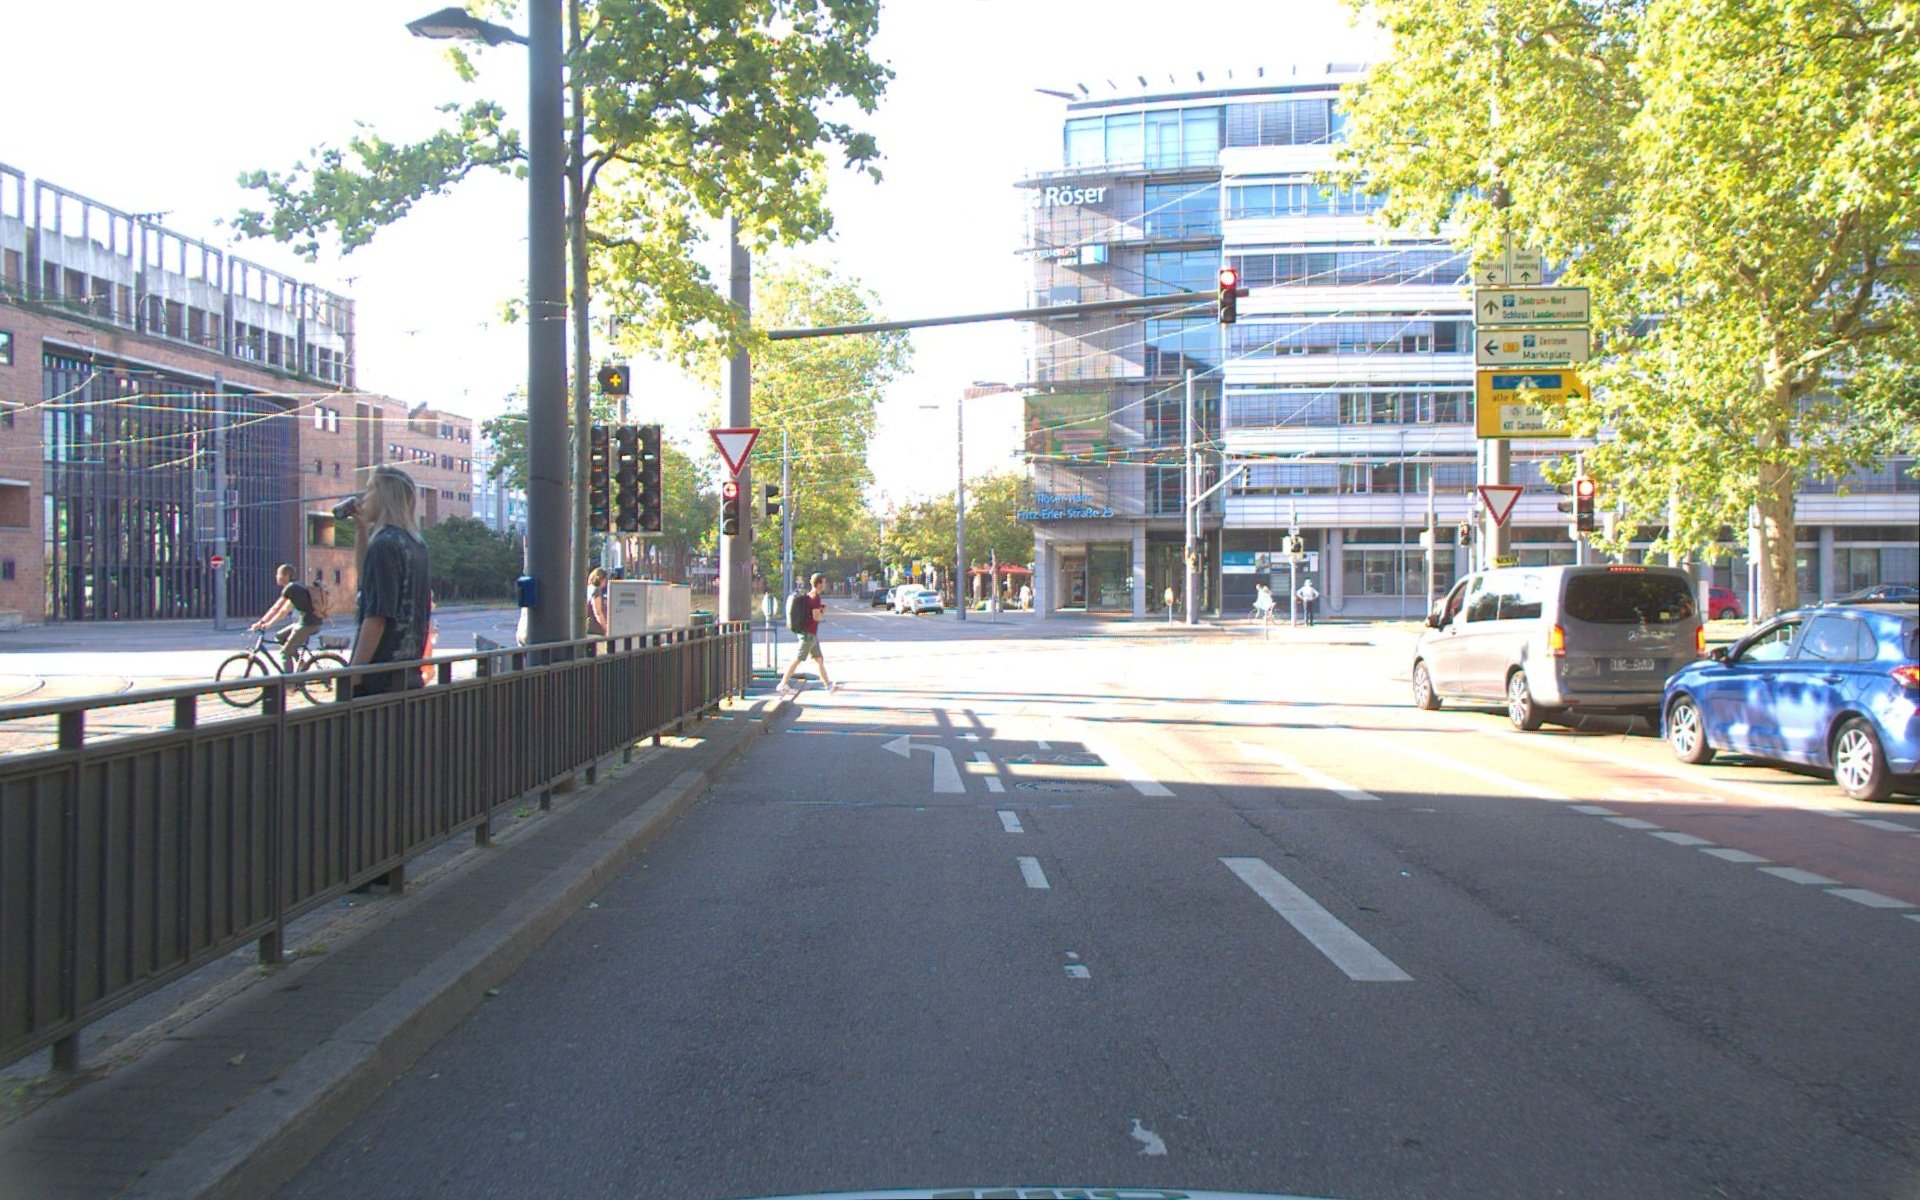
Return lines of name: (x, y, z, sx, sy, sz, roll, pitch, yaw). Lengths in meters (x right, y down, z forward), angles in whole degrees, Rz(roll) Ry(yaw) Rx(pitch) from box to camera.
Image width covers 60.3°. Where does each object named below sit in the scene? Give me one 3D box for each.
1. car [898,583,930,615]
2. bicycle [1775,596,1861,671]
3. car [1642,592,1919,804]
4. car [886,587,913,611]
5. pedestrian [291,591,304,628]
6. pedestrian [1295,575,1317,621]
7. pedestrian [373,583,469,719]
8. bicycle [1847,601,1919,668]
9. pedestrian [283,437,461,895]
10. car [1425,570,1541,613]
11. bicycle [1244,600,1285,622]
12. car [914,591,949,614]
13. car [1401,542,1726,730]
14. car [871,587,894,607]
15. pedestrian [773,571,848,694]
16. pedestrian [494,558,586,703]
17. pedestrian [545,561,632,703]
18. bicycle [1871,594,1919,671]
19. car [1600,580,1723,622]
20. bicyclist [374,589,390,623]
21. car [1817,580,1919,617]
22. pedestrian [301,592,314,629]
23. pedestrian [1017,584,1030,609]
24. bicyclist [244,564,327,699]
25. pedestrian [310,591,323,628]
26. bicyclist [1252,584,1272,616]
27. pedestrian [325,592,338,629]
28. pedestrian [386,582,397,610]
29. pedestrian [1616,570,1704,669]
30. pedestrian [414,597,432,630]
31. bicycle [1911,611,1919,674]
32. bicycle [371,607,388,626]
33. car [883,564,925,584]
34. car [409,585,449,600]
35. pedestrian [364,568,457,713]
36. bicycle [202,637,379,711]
car: (-3.037, -0.052, 107.845, 1.954, 2.026, 3.998, -1, 0, -3)
bicycle: (13.323, 0.500, 25.713, 0.479, 1.112, 1.475, -1, 0, -4)
car: (7.597, 0.694, 13.934, 1.730, 1.489, 4.214, -1, 0, -4)
car: (-4.542, -0.096, 123.404, 1.954, 1.691, 3.998, -1, 0, -3)
pedestrian: (-29.813, 0.429, 74.423, 0.529, 1.679, 0.621, -1, 0, -22)
pedestrian: (12.931, -0.062, 61.781, 0.704, 1.711, 0.557, 1, 0, 4)
pedestrian: (-6.929, 0.648, 21.304, 1.053, 1.711, 0.756, 1, 0, -10)
bicycle: (14.324, 0.515, 25.504, 0.412, 0.996, 1.475, -1, 0, -4)
pedestrian: (-2.605, 0.281, 7.389, 0.499, 1.933, 0.759, 1, -1, -2)
car: (21.055, -0.346, 66.708, 4.152, 1.630, 1.796, -1, 0, 2)
bicycle: (13.247, 0.464, 71.989, 1.705, 0.915, 0.409, -1, 0, 3)
car: (-1.757, 0.156, 101.237, 1.954, 1.355, 3.998, -1, 0, -3)
car: (7.243, 0.378, 20.534, 1.954, 2.000, 5.135, 1, 0, -3)
car: (-6.813, -0.266, 144.912, 1.954, 1.691, 3.998, -1, 0, -3)
pedestrian: (-2.162, 0.465, 23.946, 1.053, 1.745, 0.627, 1, 0, -6)
pedestrian: (-5.699, 0.410, 22.496, 1.124, 1.927, 0.831, 1, 0, -10)
pedestrian: (-4.883, 0.419, 21.789, 1.052, 1.837, 0.756, 1, 0, -10)
bicycle: (14.815, 0.500, 25.687, 0.441, 1.164, 1.475, -1, 0, -4)
car: (28.001, 0.021, 66.135, 4.152, 1.587, 1.796, -1, 0, 3)
bicyclist: (-28.954, 0.288, 82.815, 0.582, 1.705, 0.788, -1, 0, -9)
car: (36.603, -0.057, 65.744, 4.151, 1.417, 1.797, -1, 0, 5)
pedestrian: (-30.057, 0.479, 76.193, 0.529, 1.679, 0.621, -1, 0, -22)
pedestrian: (3.835, -0.216, 100.085, 0.725, 1.491, 0.536, -1, 0, -5)
bicyclist: (-9.244, 0.419, 22.690, 0.833, 1.816, 0.752, -1, 0, -6)
pedestrian: (-29.335, 0.433, 75.362, 0.529, 1.679, 0.621, -1, 0, -22)
bicyclist: (13.128, -0.014, 71.994, 0.802, 1.390, 0.400, -1, 0, 3)
pedestrian: (-28.701, 0.463, 75.542, 0.529, 1.679, 0.621, -1, 0, -22)
pedestrian: (-37.326, -0.247, 108.633, 0.511, 1.810, 0.546, -1, 0, 4)
pedestrian: (13.517, 0.378, 31.965, 1.186, 1.854, 1.040, 1, -1, -8)
pedestrian: (-25.659, 0.649, 79.023, 0.741, 1.557, 0.507, 1, 0, -10)
bicycle: (15.526, 0.672, 25.809, 0.441, 1.000, 1.475, -1, 0, -4)
bicycle: (-29.050, 0.810, 82.752, 0.503, 0.897, 1.834, -1, 0, -10)
car: (-5.318, -2.460, 158.292, 3.681, 1.780, 1.783, 1, 0, 12)
car: (-57.870, -0.823, 180.304, 3.952, 1.579, 1.588, 1, 0, -34)
pedestrian: (-7.322, 0.536, 22.065, 1.054, 1.904, 0.737, 1, 0, -10)
bicycle: (-9.166, 1.004, 22.695, 2.135, 0.950, 0.667, 0, 0, -5)
